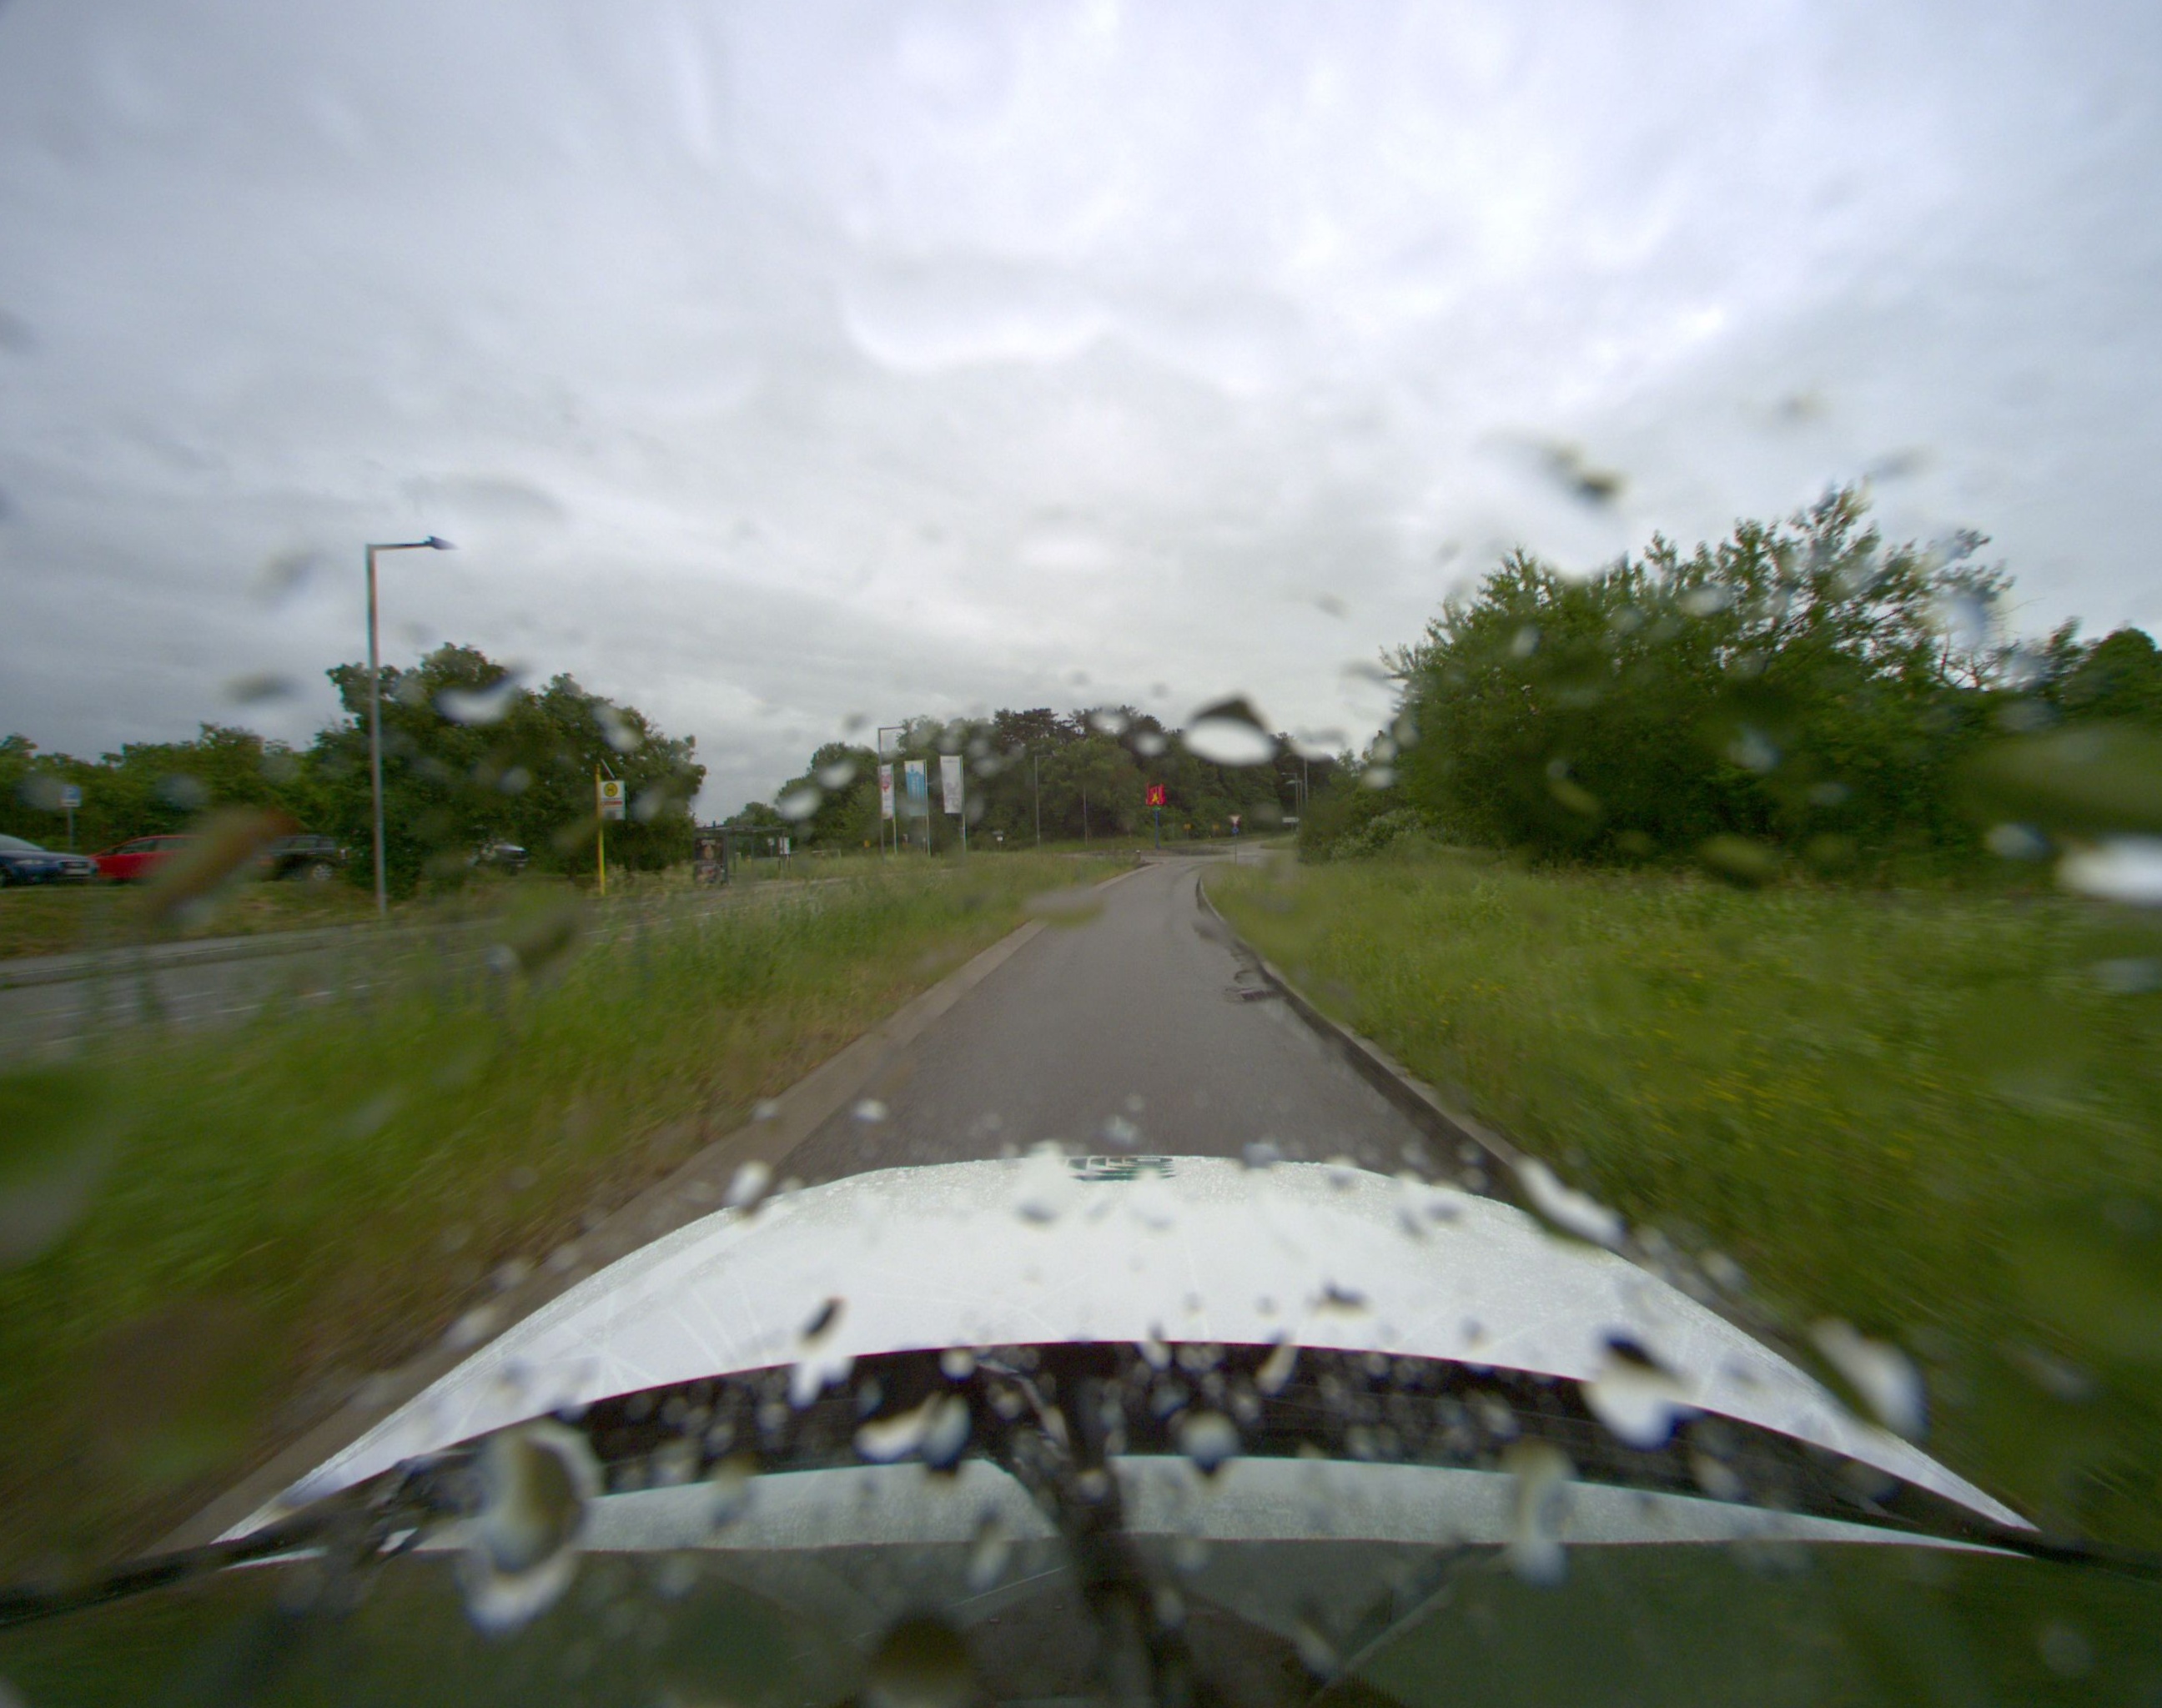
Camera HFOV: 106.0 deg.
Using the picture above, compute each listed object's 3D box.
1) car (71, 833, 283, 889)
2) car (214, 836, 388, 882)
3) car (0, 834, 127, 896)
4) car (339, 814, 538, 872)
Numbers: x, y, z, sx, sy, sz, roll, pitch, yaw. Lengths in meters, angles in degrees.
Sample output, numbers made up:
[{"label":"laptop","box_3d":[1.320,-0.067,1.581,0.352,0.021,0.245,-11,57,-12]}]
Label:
[{"label":"car","box_3d":[-26.592,0.181,24.082,3.979,1.469,1.845,-2,0,-4]},{"label":"car","box_3d":[-26.119,0.169,27.387,3.974,1.364,1.847,-2,0,-1]},{"label":"car","box_3d":[-25.405,0.219,19.004,3.974,1.364,1.899,1,0,0]},{"label":"car","box_3d":[-27.492,-0.443,35.084,6.547,2.398,2.134,0,-1,-6]}]
